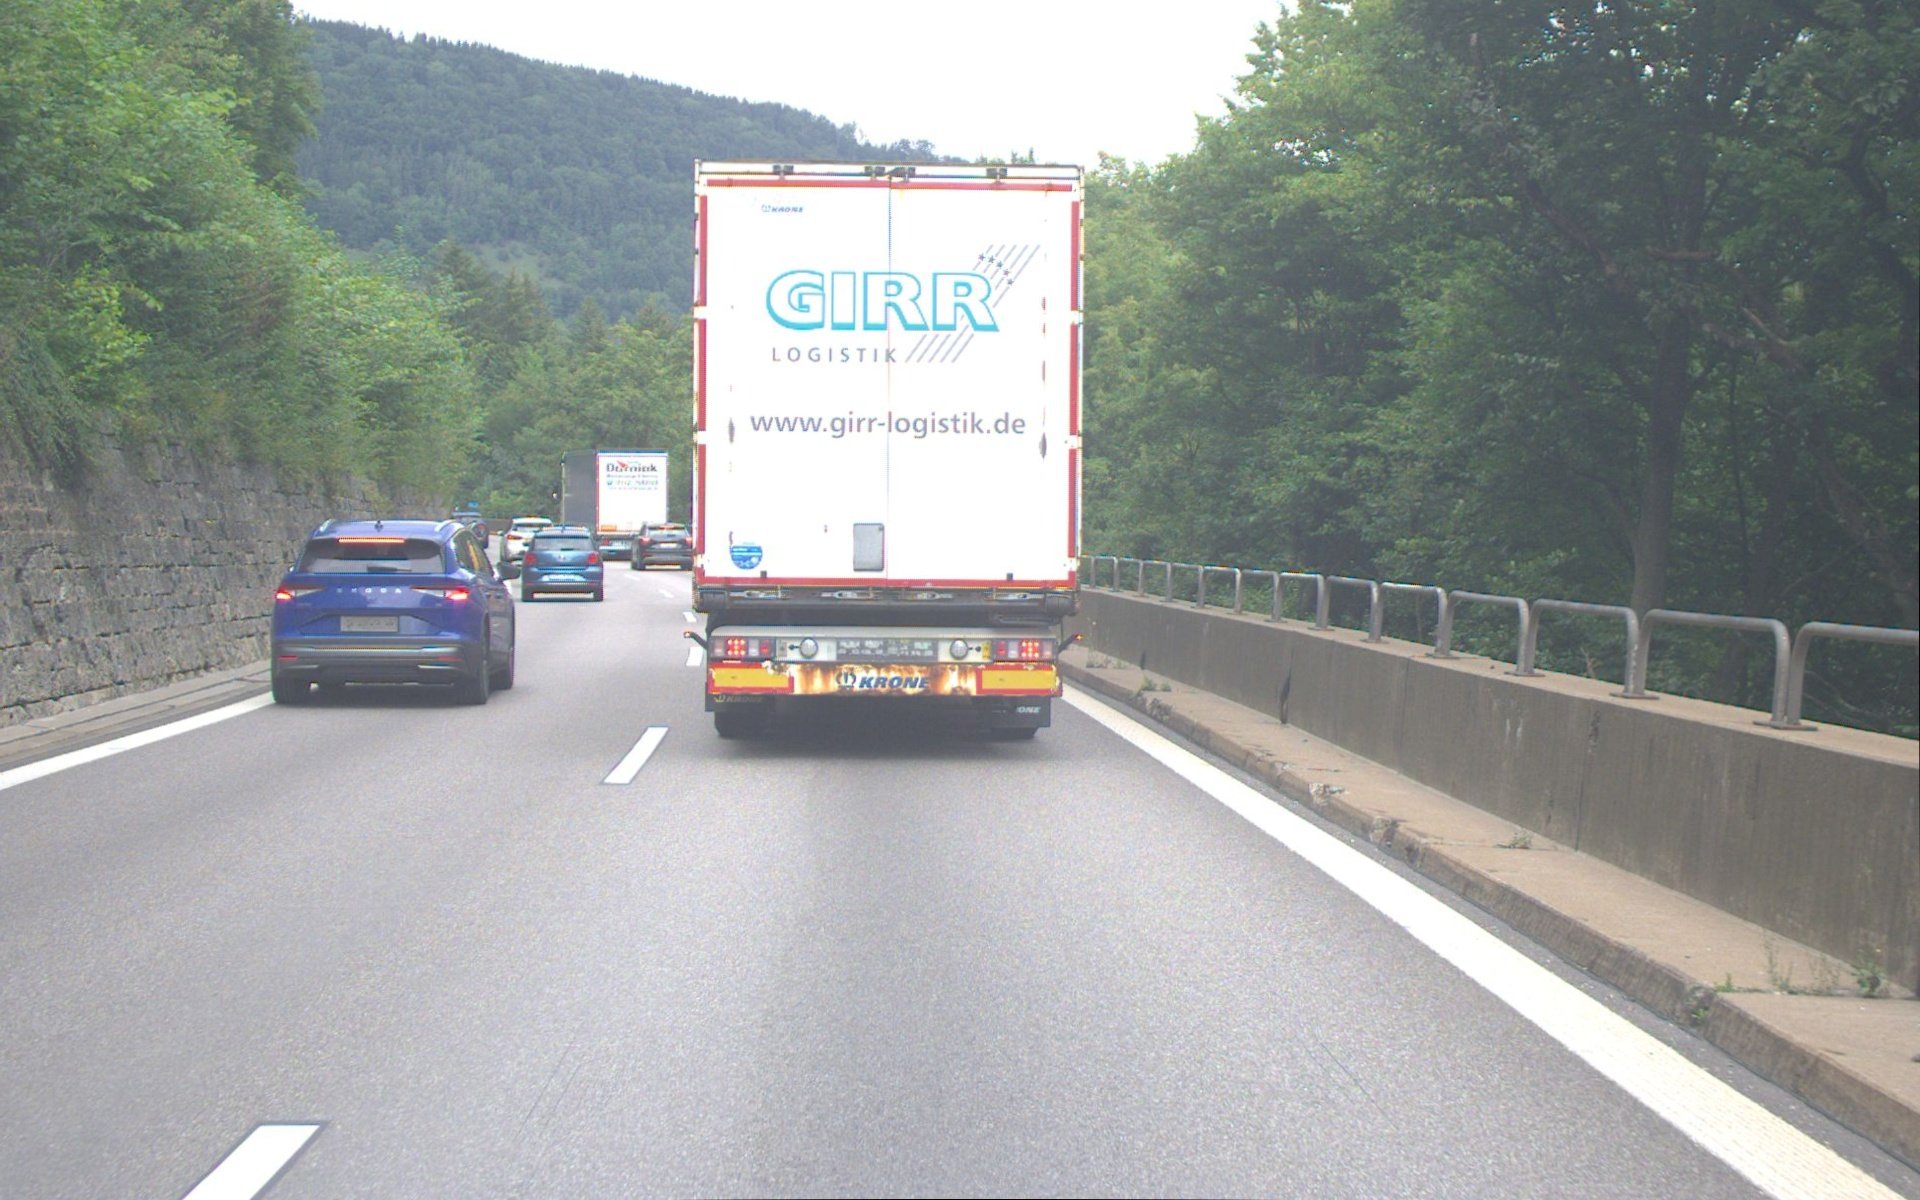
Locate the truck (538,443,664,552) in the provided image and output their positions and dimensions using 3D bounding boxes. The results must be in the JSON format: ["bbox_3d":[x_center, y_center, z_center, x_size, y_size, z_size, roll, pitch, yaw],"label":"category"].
[{"bbox_3d":[-13.394,-3.766,127.207,2.633,3.844,12.363,0,1,-15],"label":"truck"}]

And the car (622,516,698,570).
[{"bbox_3d":[-9.286,-1.783,106.214,2.060,1.648,4.001,0,1,-9],"label":"car"}]

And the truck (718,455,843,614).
[{"bbox_3d":[-3.426,-1.227,64.649,2.208,2.841,5.005,1,1,-4],"label":"truck"}]

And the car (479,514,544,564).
[{"bbox_3d":[-14.680,-1.997,112.351,1.896,1.545,4.251,1,1,-10],"label":"car"}]

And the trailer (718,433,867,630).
[{"bbox_3d":[-3.008,-1.176,59.240,2.211,3.037,11.141,1,1,-4],"label":"trailer"}]

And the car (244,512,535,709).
[{"bbox_3d":[-5.058,0.024,31.132,1.993,1.626,5.009,0,1,-2],"label":"car"}]

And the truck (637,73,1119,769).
[{"bbox_3d":[-0.753,-1.324,29.621,3.084,4.448,15.157,0,1,-2],"label":"truck"}]

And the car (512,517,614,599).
[{"bbox_3d":[-8.167,-0.889,70.853,1.993,1.590,4.355,1,1,-6],"label":"car"}]

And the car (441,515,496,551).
[{"bbox_3d":[-21.736,-2.972,151.958,1.896,1.545,4.251,1,1,-15],"label":"car"}]
